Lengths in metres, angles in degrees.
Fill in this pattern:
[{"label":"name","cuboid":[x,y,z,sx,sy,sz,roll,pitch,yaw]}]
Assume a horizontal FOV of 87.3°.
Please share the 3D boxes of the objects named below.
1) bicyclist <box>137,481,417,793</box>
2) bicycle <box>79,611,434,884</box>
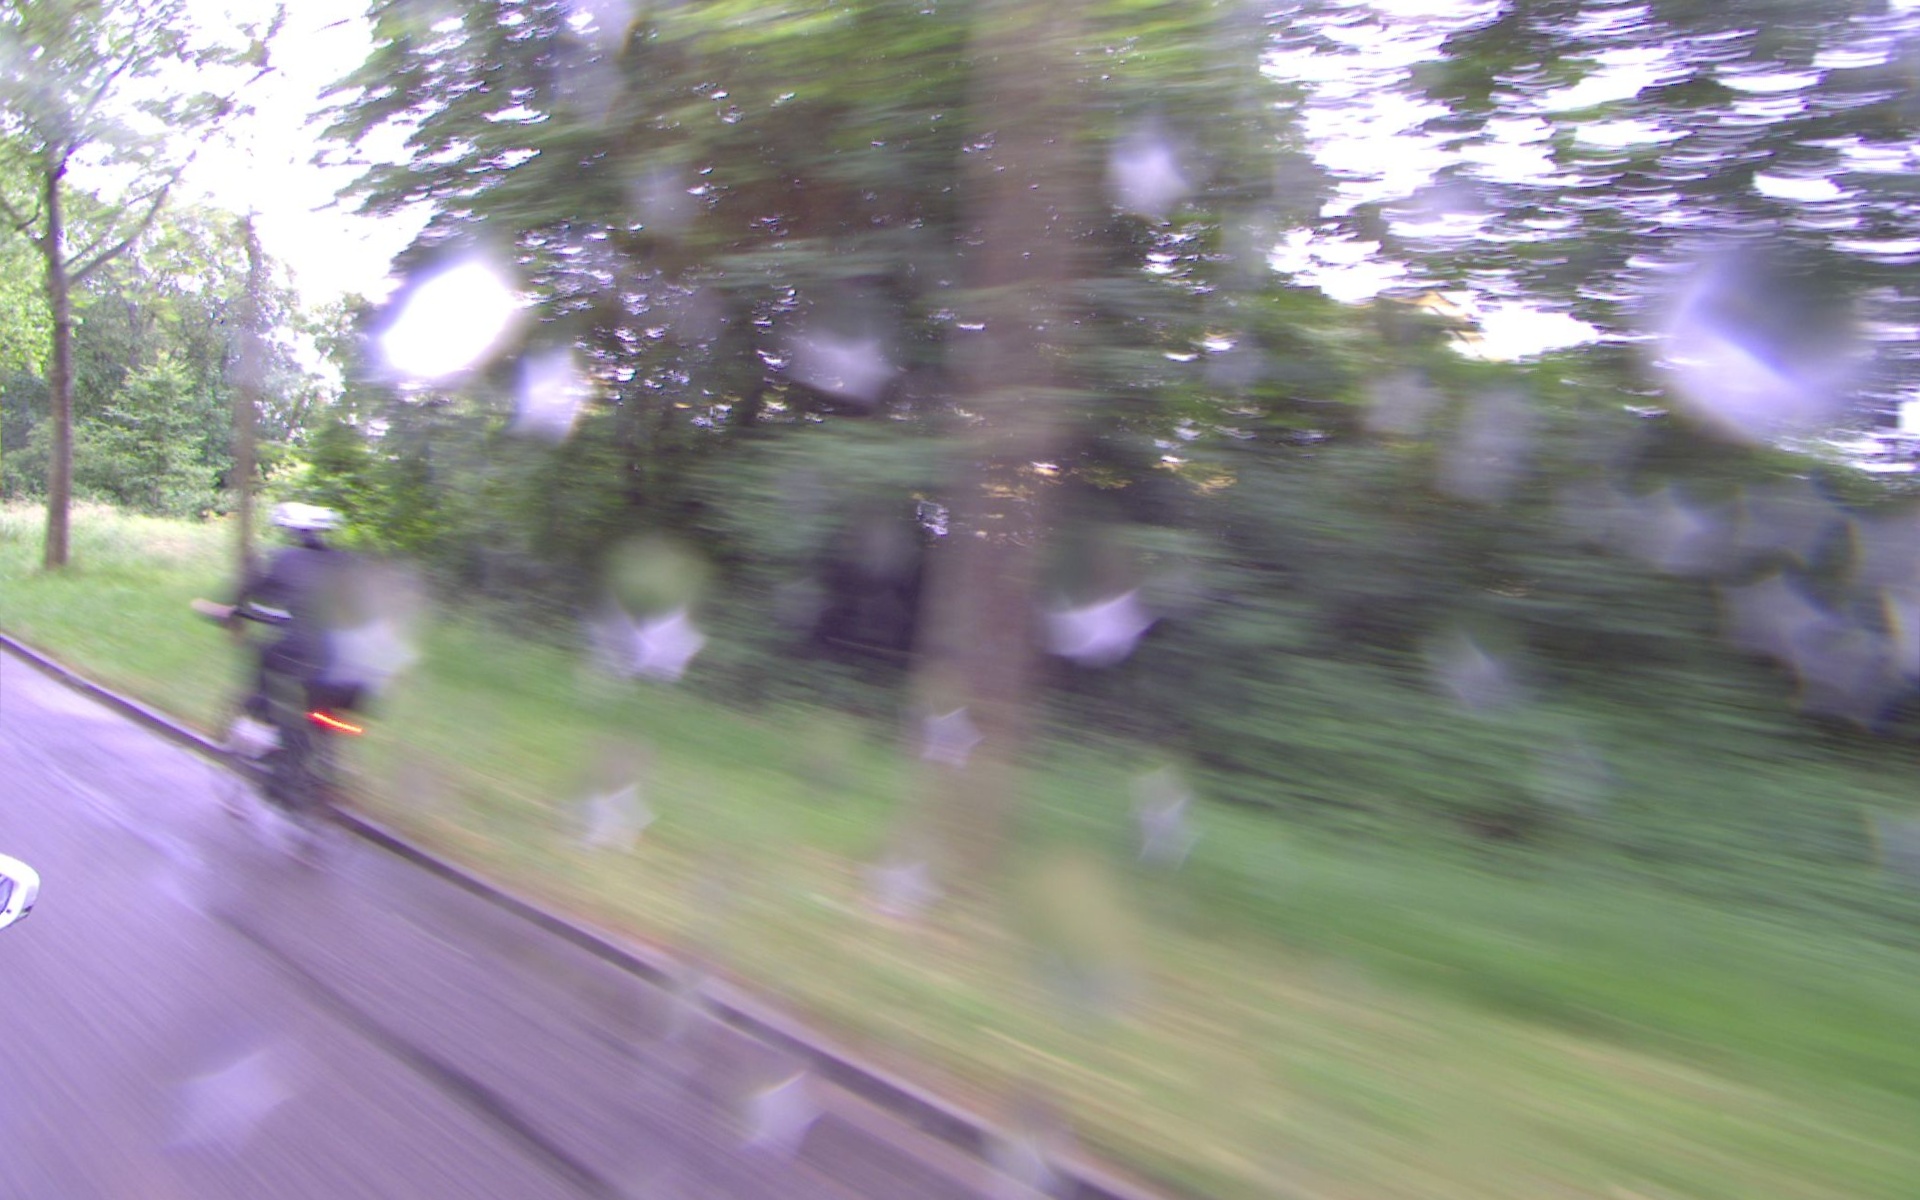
[{"label":"bicyclist","cuboid":[-3.533,0.185,5.216,0.958,1.426,0.731,7,-3,35]},{"label":"bicycle","cuboid":[-3.756,0.698,5.297,2.139,0.984,0.731,6,-3,35]}]
